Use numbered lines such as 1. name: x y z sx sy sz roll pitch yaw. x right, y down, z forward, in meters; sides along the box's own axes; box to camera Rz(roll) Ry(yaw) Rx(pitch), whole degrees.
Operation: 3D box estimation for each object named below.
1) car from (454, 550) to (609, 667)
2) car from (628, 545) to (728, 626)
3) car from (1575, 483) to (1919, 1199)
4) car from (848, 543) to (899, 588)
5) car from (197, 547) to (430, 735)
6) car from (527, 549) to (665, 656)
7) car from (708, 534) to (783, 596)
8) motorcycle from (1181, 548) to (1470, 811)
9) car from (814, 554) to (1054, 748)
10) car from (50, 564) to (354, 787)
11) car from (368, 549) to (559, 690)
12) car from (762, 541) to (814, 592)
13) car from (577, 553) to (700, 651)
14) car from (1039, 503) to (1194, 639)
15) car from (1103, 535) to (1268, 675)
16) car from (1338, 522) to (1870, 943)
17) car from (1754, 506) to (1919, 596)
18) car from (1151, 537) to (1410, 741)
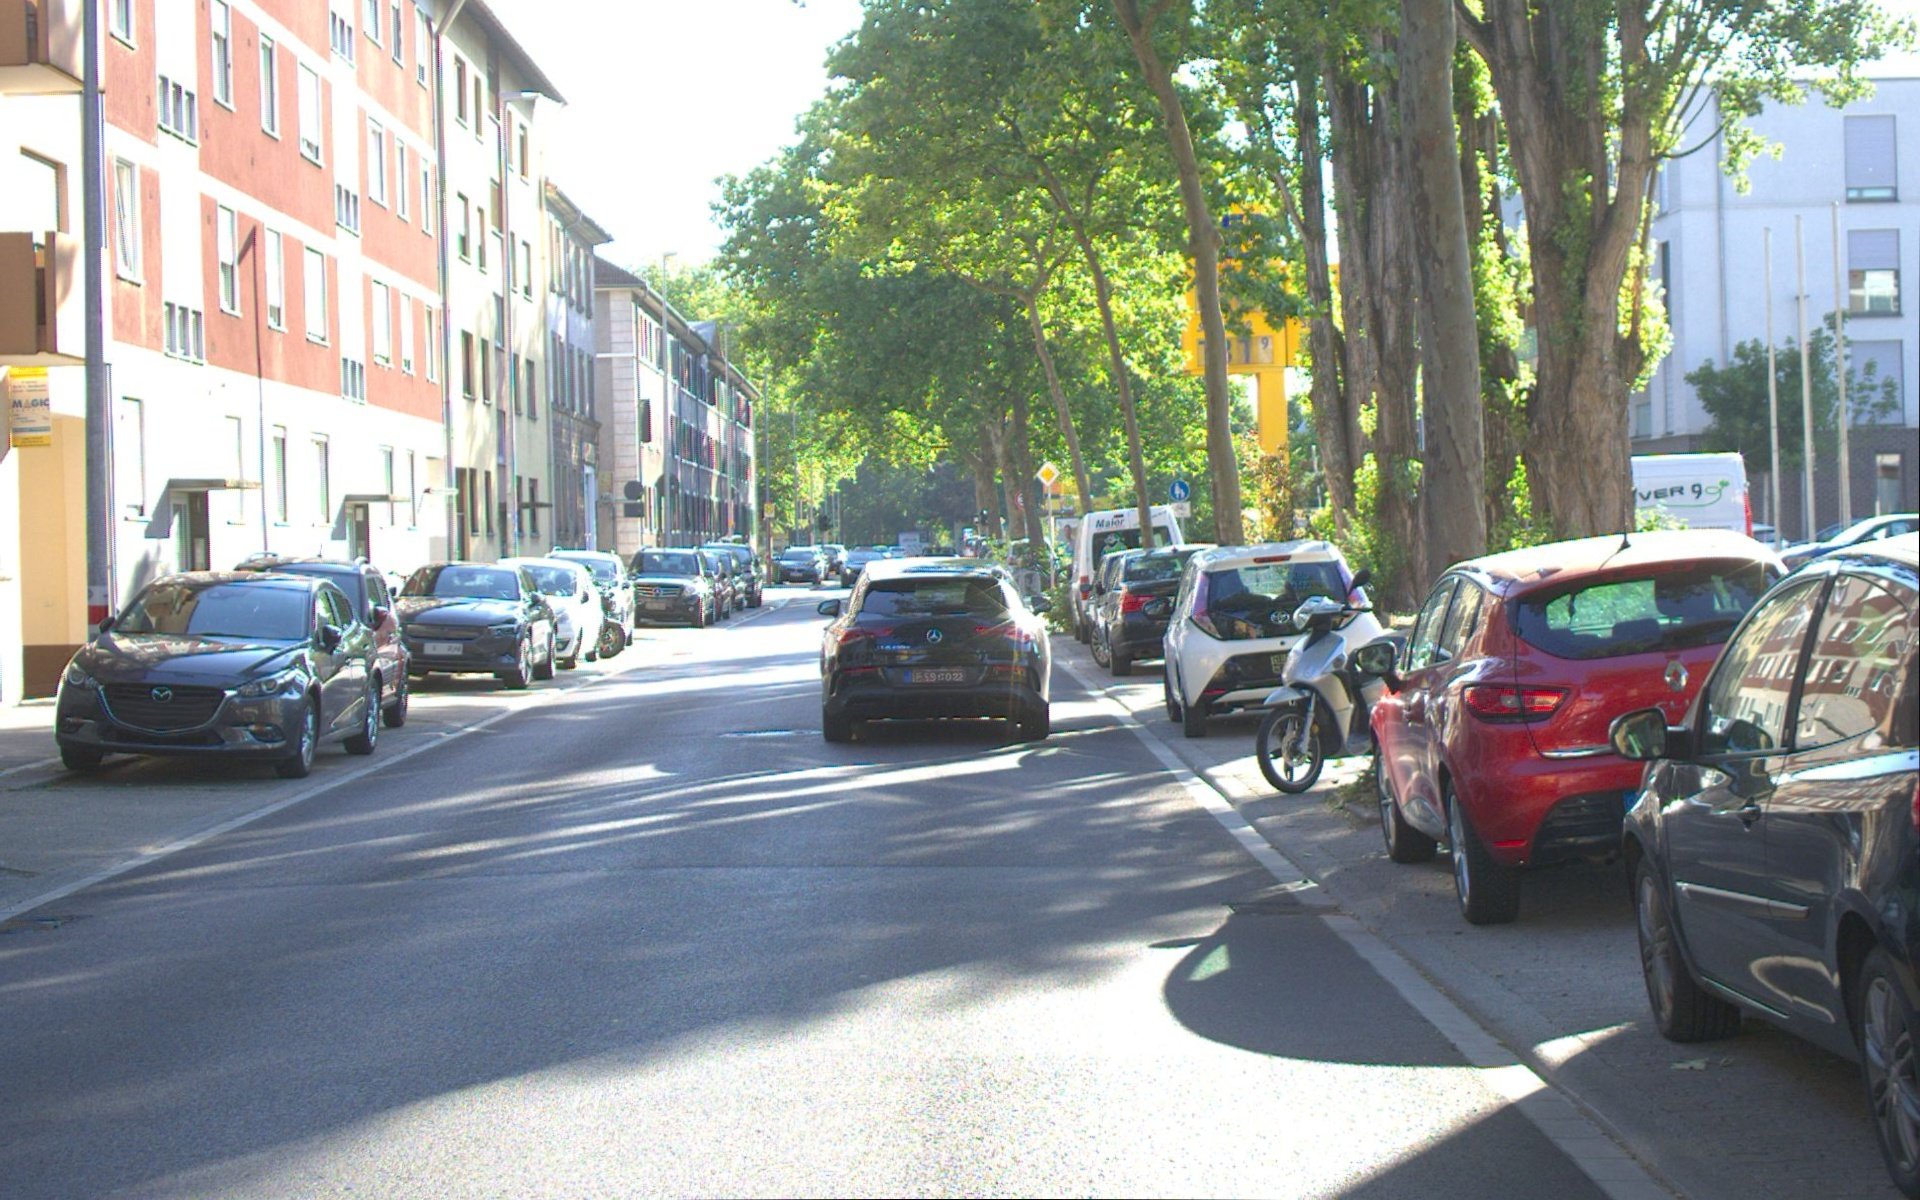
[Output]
1. car: -6.169 0.090 49.887 1.712 1.557 3.801 2 1 0
2. car: -5.832 -0.330 71.470 1.712 1.557 3.801 2 1 0
3. car: 2.729 0.539 8.929 1.559 1.590 3.601 0 1 -1
4. car: -3.328 -1.322 132.640 1.901 1.655 4.000 -1 0 -1
5. car: -5.959 0.333 32.045 1.712 1.557 3.798 2 1 -5
6. car: -5.724 0.014 54.436 1.712 1.557 3.801 2 1 0
7. car: -5.774 -0.963 92.758 1.712 1.557 3.801 2 1 0
8. motorcycle: 2.220 0.466 20.860 1.641 1.552 0.612 0 0 -21
9. car: -0.144 0.360 28.209 1.744 1.438 3.969 0 1 3
10. car: -5.652 0.513 26.035 1.712 1.459 3.798 2 1 -5
11. car: -5.987 0.198 41.826 1.712 1.557 3.801 2 1 0
12. car: -6.851 -1.316 137.341 1.907 1.941 4.000 -1 0 -1
13. car: -5.528 0.006 59.450 1.712 1.557 3.801 2 1 0
14. car: 2.386 -0.424 53.369 1.993 2.007 4.000 -1 0 -3
15. car: 2.586 0.039 40.144 1.633 1.552 3.601 0 1 -1
16. car: 2.637 0.487 14.819 1.559 1.590 3.601 0 1 -1
17. car: 16.263 -0.872 60.801 3.987 1.524 1.807 -1 0 -1
18. car: 2.547 0.282 28.086 1.722 1.552 3.601 0 1 -1
